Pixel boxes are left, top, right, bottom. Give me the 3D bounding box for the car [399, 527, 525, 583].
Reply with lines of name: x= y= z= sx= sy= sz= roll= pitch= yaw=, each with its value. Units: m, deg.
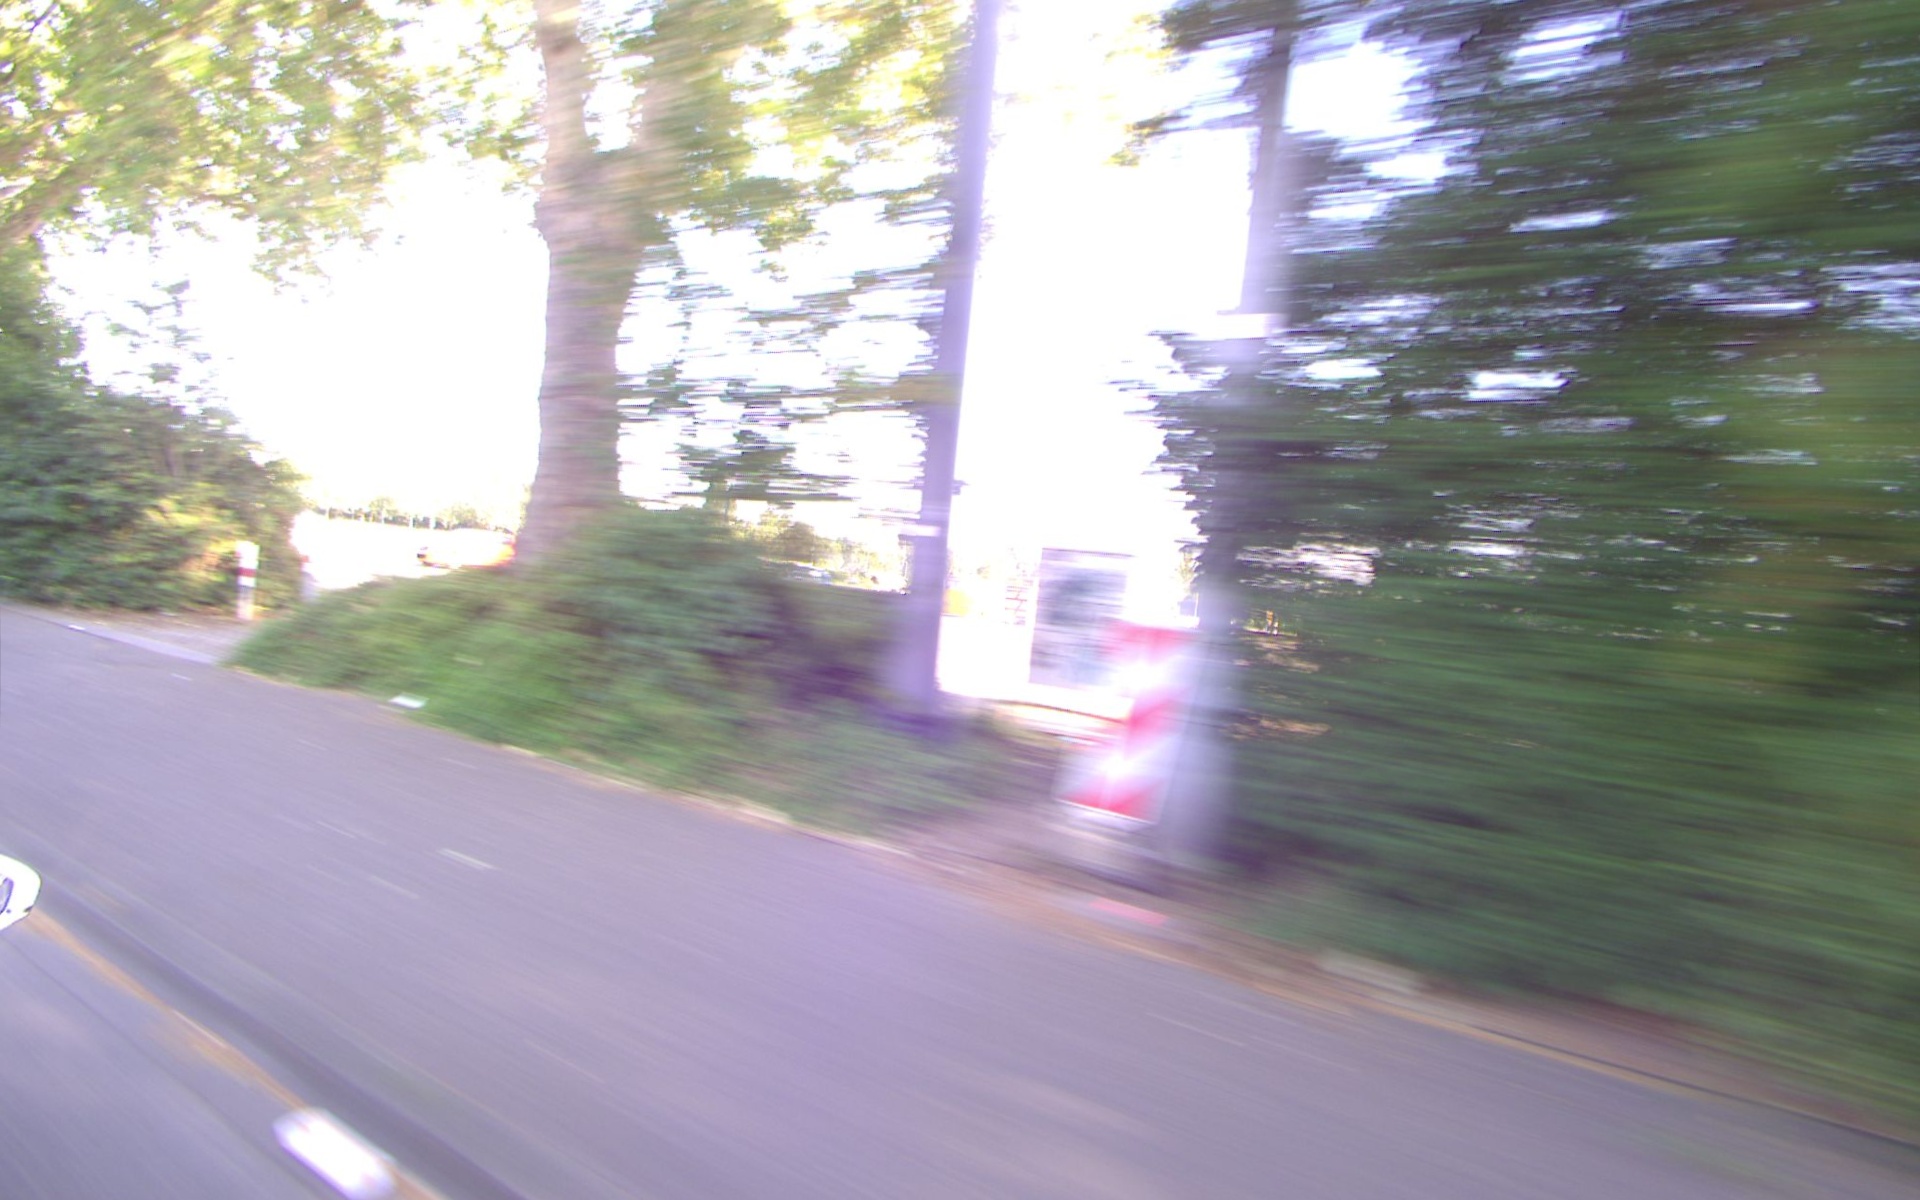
car: x=-18.363 y=-1.625 z=37.256 sx=1.712 sy=1.549 sz=3.845 roll=6 pitch=0 yaw=28
